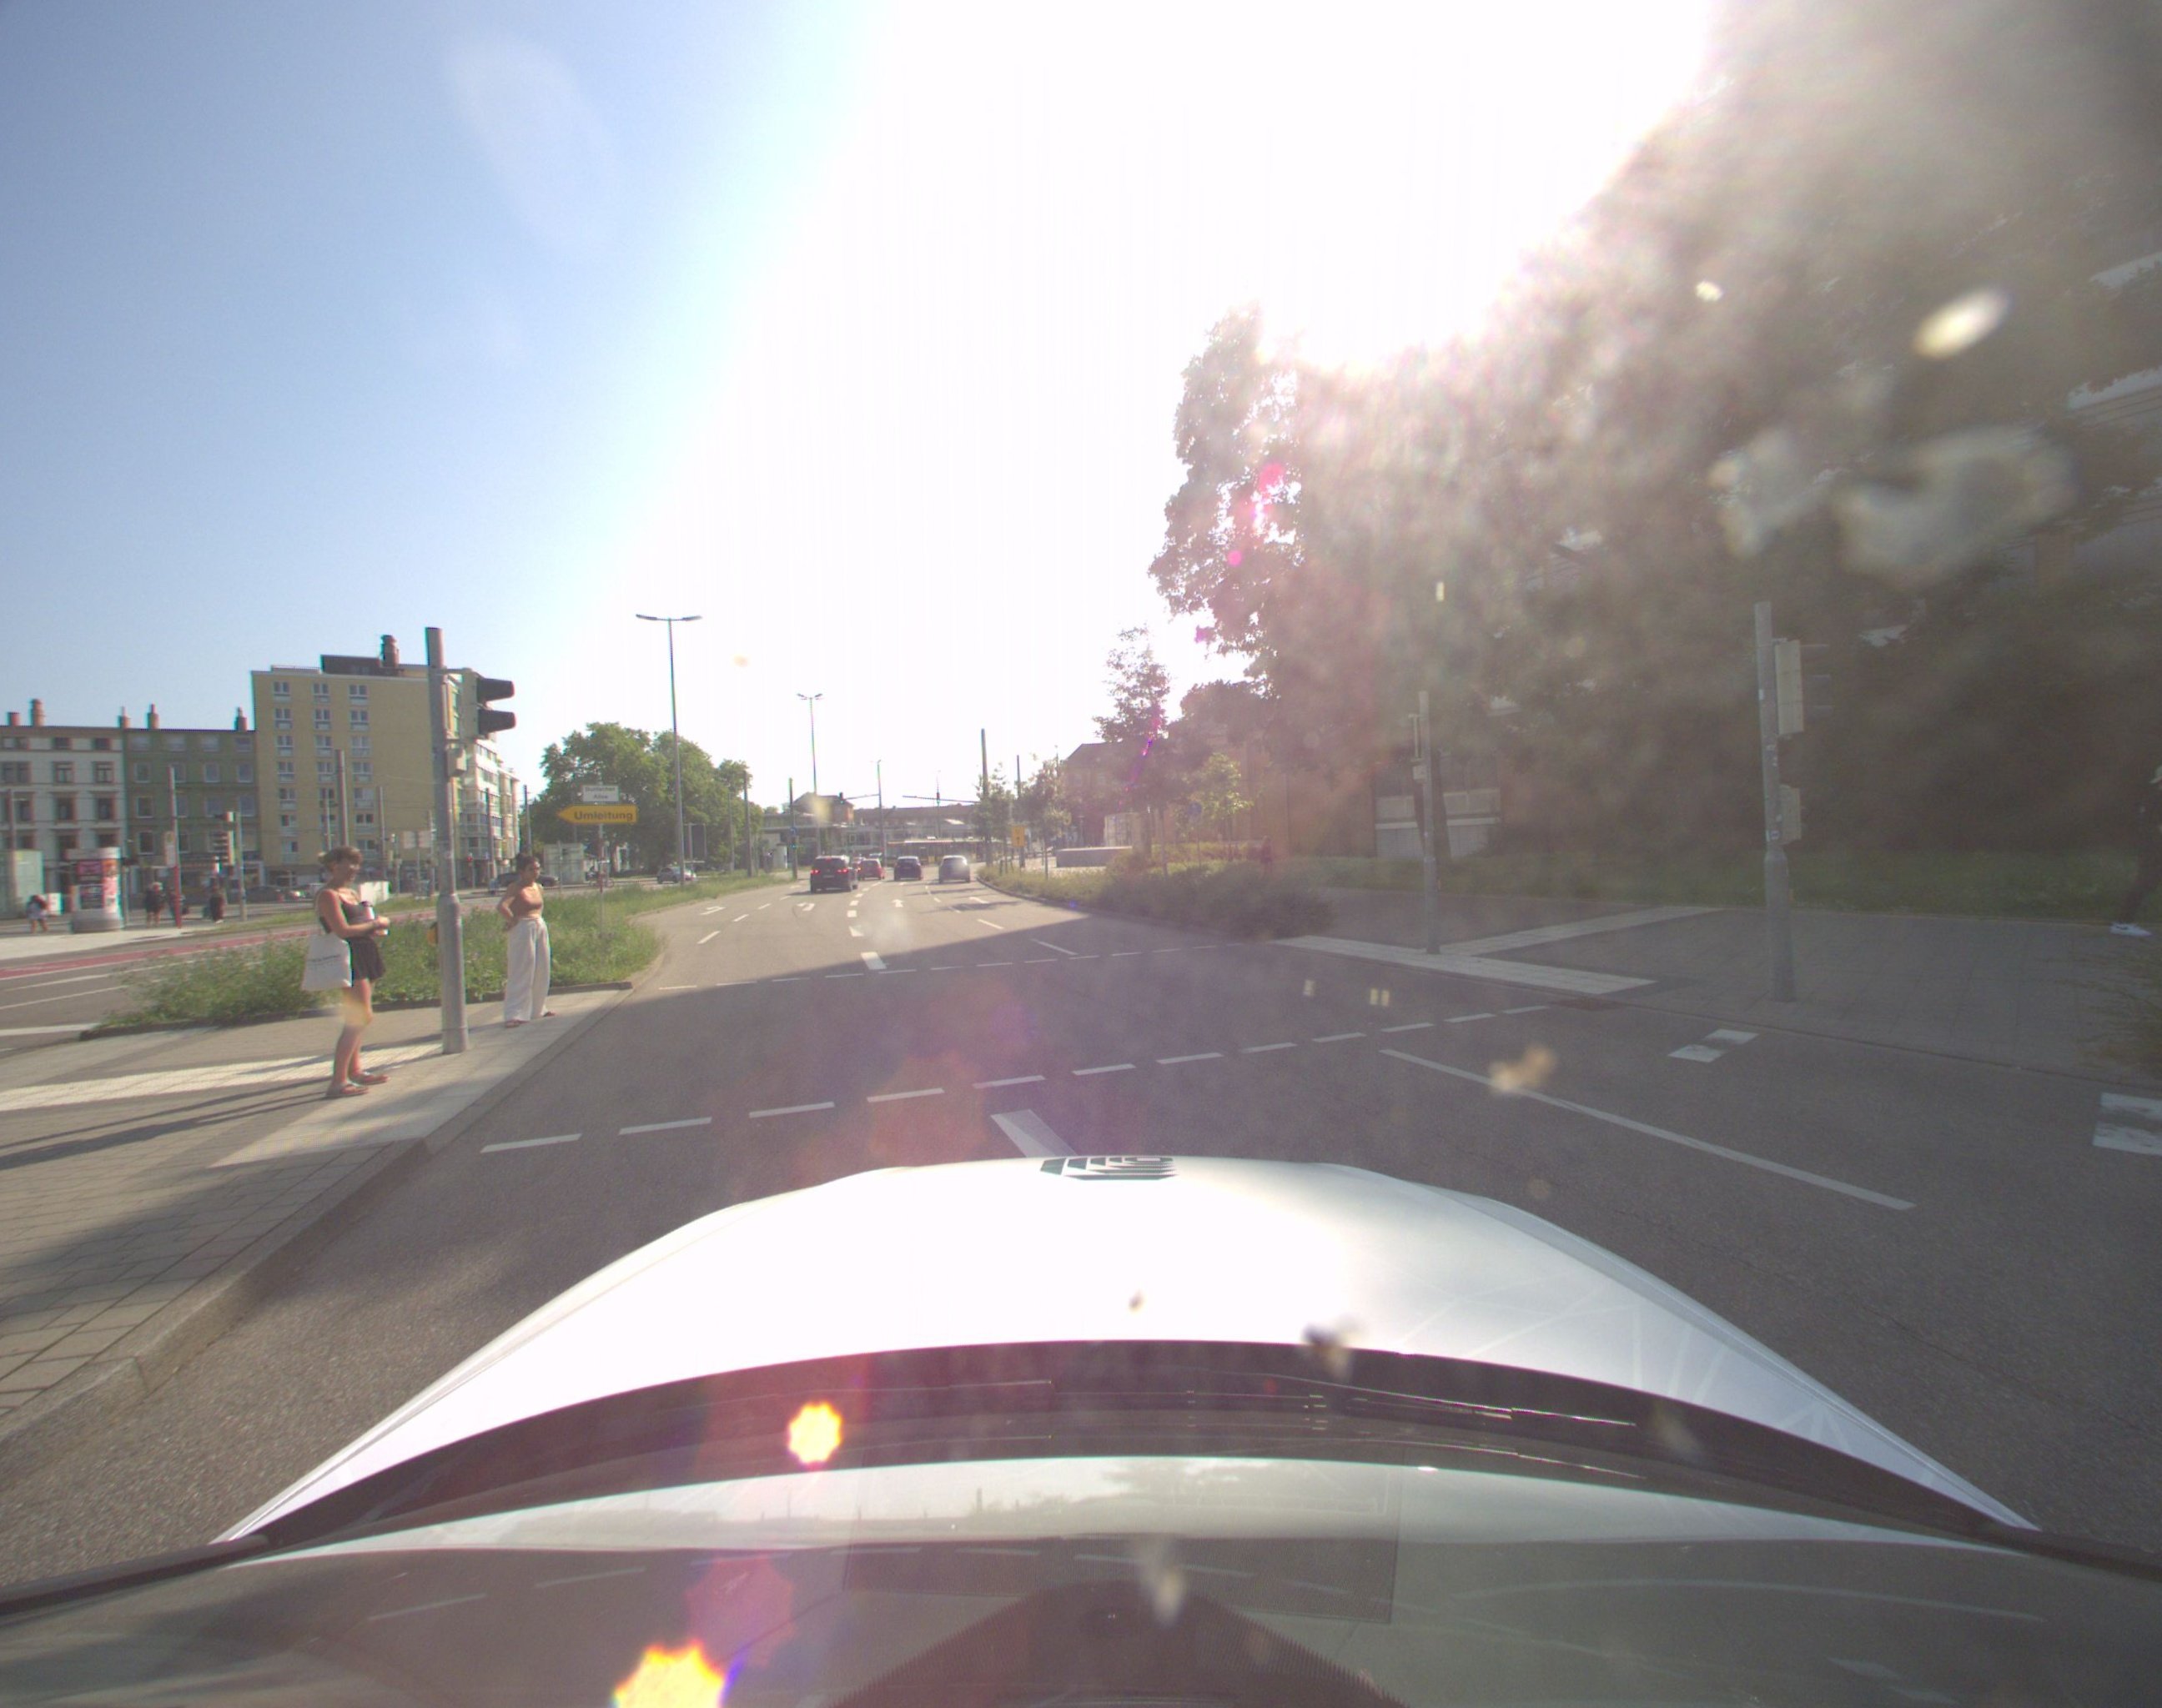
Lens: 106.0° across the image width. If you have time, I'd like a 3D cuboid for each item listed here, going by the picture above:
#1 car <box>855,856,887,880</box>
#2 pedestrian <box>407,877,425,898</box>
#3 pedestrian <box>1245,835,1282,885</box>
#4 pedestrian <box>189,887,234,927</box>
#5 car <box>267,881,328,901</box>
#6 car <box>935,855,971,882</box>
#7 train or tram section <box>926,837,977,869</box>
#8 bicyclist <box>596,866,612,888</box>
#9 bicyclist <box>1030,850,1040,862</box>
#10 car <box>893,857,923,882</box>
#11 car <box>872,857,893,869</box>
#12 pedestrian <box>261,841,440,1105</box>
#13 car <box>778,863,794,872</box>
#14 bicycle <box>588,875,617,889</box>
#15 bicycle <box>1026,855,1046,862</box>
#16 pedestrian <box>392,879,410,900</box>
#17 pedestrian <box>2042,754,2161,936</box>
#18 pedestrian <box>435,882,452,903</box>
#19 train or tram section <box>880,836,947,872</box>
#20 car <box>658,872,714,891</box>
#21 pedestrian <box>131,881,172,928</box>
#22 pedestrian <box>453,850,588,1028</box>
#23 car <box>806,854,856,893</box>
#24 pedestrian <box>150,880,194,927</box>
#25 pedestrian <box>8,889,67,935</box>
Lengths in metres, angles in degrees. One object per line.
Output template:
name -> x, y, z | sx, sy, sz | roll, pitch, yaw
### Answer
car -> -14.725, 0.946, 57.287 | 1.827, 1.535, 4.394 | -3, 1, -12
pedestrian -> -54.903, 2.777, 67.284 | 0.927, 1.690, 0.914 | -2, 0, -27
pedestrian -> 5.425, 0.172, 24.251 | 0.725, 1.443, 0.853 | -3, 0, -13
pedestrian -> -36.024, 2.181, 33.751 | 0.855, 1.559, 0.996 | -3, 0, 24
car -> -73.407, 3.477, 76.339 | 4.502, 1.678, 2.008 | -2, 0, 14
car -> -7.502, 0.813, 47.355 | 1.827, 1.428, 4.394 | -3, 1, -12
train or tram section -> -16.128, -0.216, 102.611 | 2.690, 3.699, 10.622 | -3, 1, 11
bicyclist -> -37.312, 1.805, 63.679 | 0.885, 1.652, 0.721 | -3, 0, -22
bicyclist -> -6.769, 0.326, 119.383 | 0.941, 1.680, 1.081 | -3, 0, -34
car -> -11.632, 1.013, 54.787 | 1.827, 1.535, 4.394 | -3, 1, -12
car -> -27.503, 1.278, 112.973 | 1.606, 1.475, 4.006 | -4, 0, 5
pedestrian -> -5.119, 0.779, 5.762 | 0.669, 1.699, 0.687 | -3, 0, -22
car -> -52.714, 2.403, 145.417 | 1.697, 1.522, 4.091 | -2, 0, -6
bicycle -> -37.389, 2.165, 63.642 | 1.820, 0.932, 0.721 | -3, 0, -22
bicycle -> -6.595, 0.685, 119.500 | 2.637, 0.964, 1.081 | -3, 1, -34
pedestrian -> -55.986, 2.898, 67.041 | 0.927, 1.690, 0.914 | -2, 0, -27
pedestrian -> 10.914, -0.121, 8.414 | 0.962, 1.782, 0.995 | -5, 1, -24
pedestrian -> -53.321, 3.236, 68.102 | 0.927, 1.690, 0.914 | -2, 0, -27
train or tram section -> -18.756, -0.143, 92.270 | 2.635, 3.699, 10.634 | -3, 1, 16
car -> -34.906, 2.415, 71.984 | 4.179, 1.433, 1.827 | -3, 0, 15
pedestrian -> -37.293, 2.022, 32.695 | 0.780, 1.800, 0.697 | -3, 0, -18
pedestrian -> -5.534, 0.808, 8.074 | 0.662, 1.654, 0.782 | -3, 0, 15
car -> -12.107, 0.885, 39.657 | 1.827, 1.714, 4.394 | -3, 1, -12
pedestrian -> -36.304, 1.970, 32.536 | 0.794, 1.800, 0.780 | -3, 0, 0
pedestrian -> -38.322, 2.110, 29.909 | 0.982, 1.563, 0.867 | -3, 0, 3
